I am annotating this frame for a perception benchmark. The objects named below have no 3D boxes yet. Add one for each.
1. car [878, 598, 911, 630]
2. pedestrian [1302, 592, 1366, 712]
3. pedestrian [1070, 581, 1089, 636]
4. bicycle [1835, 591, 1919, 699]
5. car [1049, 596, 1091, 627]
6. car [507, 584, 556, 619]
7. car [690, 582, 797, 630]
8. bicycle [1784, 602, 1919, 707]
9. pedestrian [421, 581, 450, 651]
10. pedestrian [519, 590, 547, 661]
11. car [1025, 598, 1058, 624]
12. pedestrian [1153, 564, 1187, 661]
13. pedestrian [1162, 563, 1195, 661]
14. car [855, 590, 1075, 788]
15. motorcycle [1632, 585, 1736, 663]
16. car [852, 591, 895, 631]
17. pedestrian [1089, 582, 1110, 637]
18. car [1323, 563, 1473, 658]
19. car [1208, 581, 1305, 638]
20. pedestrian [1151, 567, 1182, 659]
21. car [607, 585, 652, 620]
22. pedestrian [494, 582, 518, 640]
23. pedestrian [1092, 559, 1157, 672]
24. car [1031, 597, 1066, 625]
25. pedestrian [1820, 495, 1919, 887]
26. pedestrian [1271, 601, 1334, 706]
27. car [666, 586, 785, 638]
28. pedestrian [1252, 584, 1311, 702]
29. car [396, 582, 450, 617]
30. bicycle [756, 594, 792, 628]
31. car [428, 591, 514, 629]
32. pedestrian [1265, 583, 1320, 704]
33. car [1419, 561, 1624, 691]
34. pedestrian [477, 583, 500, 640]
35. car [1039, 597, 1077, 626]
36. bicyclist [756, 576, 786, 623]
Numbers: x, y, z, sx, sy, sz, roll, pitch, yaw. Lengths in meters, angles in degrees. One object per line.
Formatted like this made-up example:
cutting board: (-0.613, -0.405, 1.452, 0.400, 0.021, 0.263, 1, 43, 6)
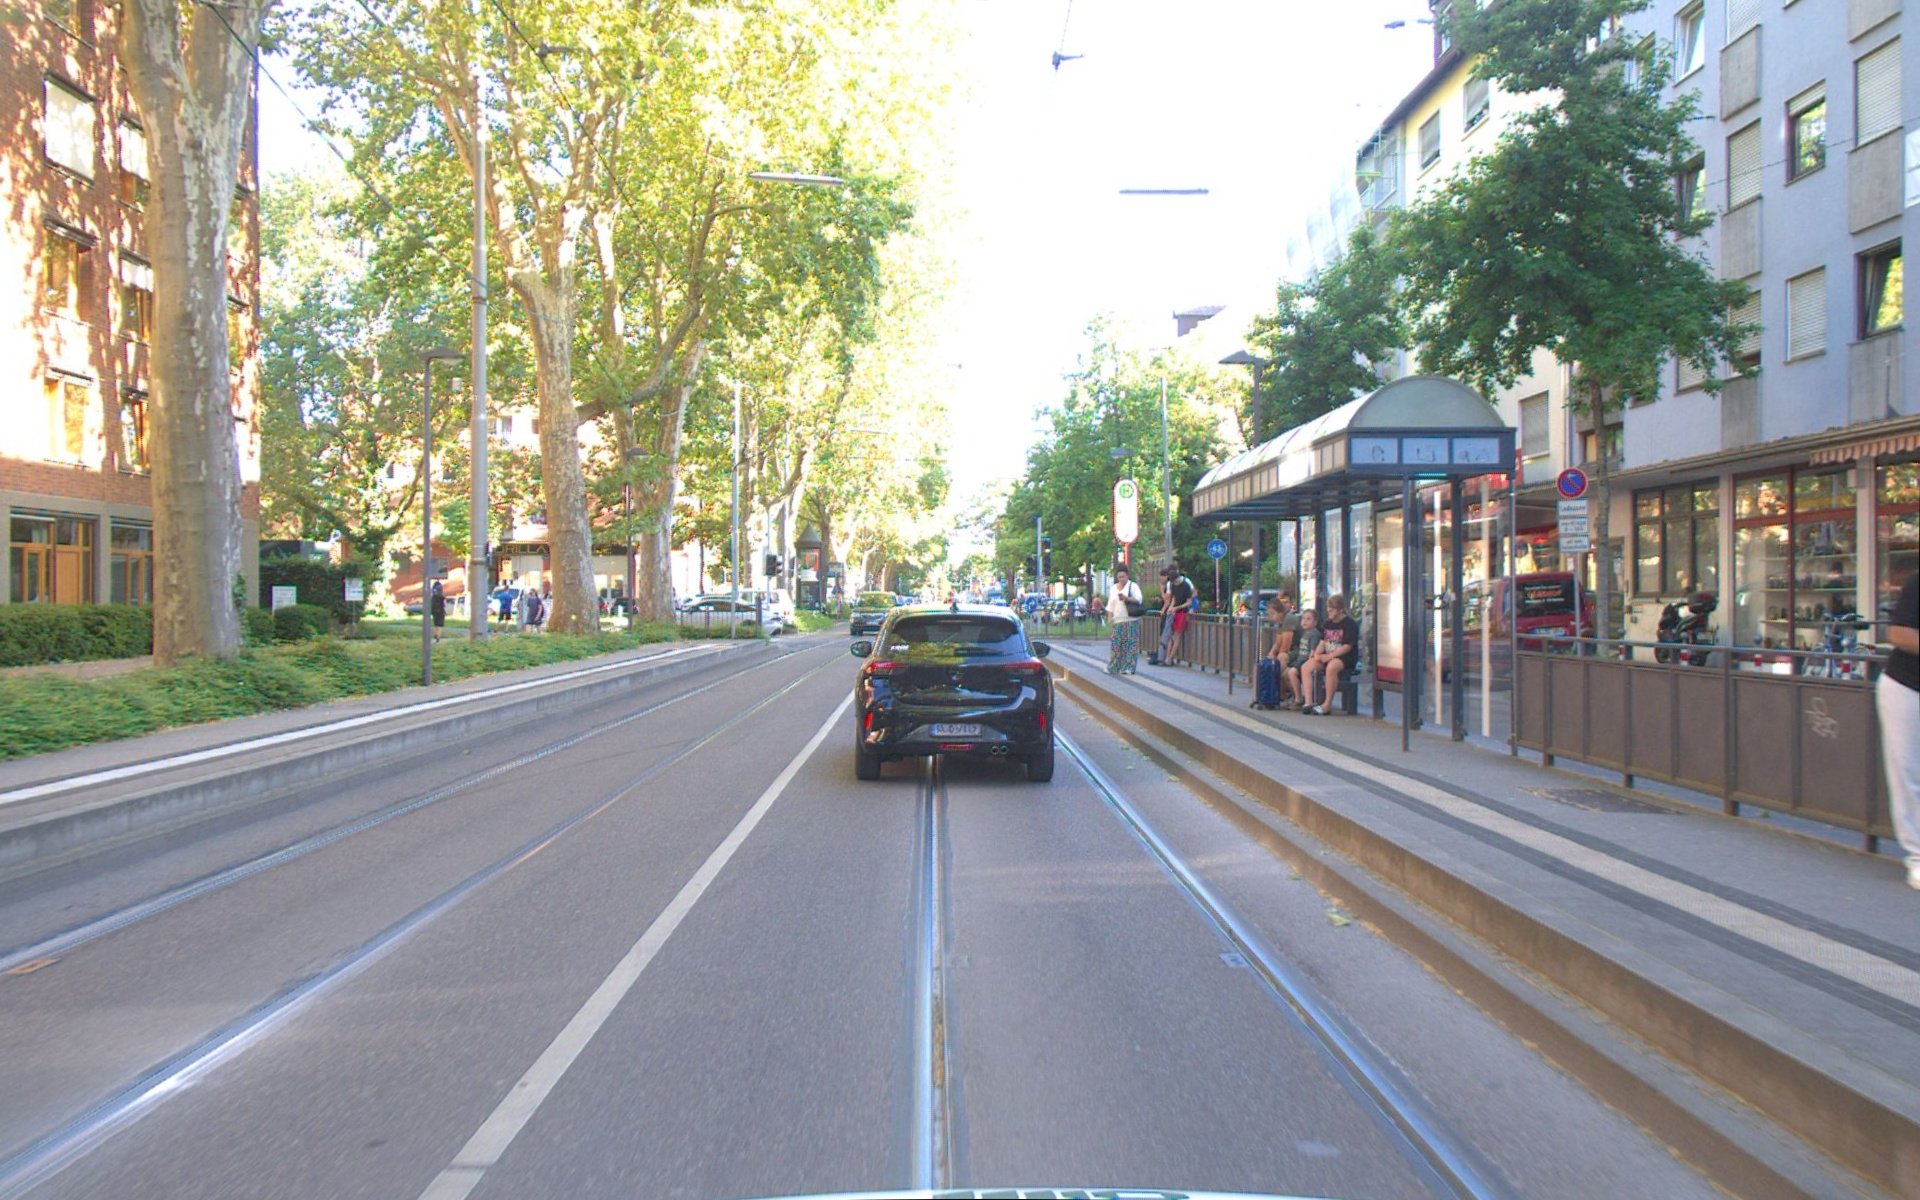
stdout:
car: (-3.673, 0.762, 92.662, 1.749, 1.723, 3.998, 1, 0, -3)
pedestrian: (3.951, 0.543, 17.478, 0.523, 1.252, 0.510, 1, -1, -5)
pedestrian: (4.525, 0.324, 62.663, 0.661, 2.049, 0.701, 2, 0, 5)
bicycle: (10.477, 0.484, 17.821, 0.587, 1.156, 2.197, 1, 0, -12)
car: (6.067, 0.622, 91.523, 1.953, 1.661, 3.999, 1, 0, -1)
car: (-25.995, 0.091, 100.520, 1.953, 2.049, 3.999, 1, 0, -1)
car: (-8.937, 0.262, 68.418, 4.302, 1.884, 1.996, 1, -1, -8)
bicycle: (10.603, 0.612, 19.385, 0.586, 1.156, 2.201, 1, 0, -7)
pedestrian: (-14.957, 0.450, 47.154, 0.486, 1.984, 0.675, 1, -1, 11)
pedestrian: (-12.060, 0.722, 46.732, 0.658, 1.984, 0.498, 1, -1, -1)
car: (5.416, 0.733, 110.890, 1.953, 1.661, 3.999, 1, 0, -1)
pedestrian: (3.820, 0.232, 30.092, 0.520, 1.739, 0.752, 1, -1, 1)
pedestrian: (4.072, 0.217, 30.798, 0.520, 1.793, 0.661, 1, -1, 1)
car: (-0.054, 0.707, 14.883, 1.725, 1.534, 3.680, -1, 0, -3)
motorcycle: (12.451, 0.406, 28.529, 0.874, 1.302, 2.042, 1, 0, -1)
car: (-3.521, 0.447, 67.557, 1.710, 1.571, 3.998, 1, 0, -3)
pedestrian: (5.269, 0.356, 62.376, 0.661, 2.049, 0.702, 2, 0, 11)
car: (8.990, 0.221, 34.299, 1.953, 1.829, 3.998, 1, 0, -2)
car: (8.275, 0.268, 46.443, 1.953, 1.512, 3.999, 1, 0, -1)
pedestrian: (3.937, 0.248, 31.536, 0.520, 1.739, 0.596, 1, -1, 1)
car: (-20.124, 0.154, 100.921, 1.953, 2.049, 3.999, 1, 0, -1)
pedestrian: (-15.872, 0.383, 57.803, 0.659, 1.984, 0.497, 2, 0, -4)
pedestrian: (2.583, 0.240, 25.969, 0.736, 1.739, 0.761, 0, -1, 33)
car: (5.575, 0.696, 104.597, 1.953, 1.661, 3.999, 1, 0, -1)
pedestrian: (4.247, 0.379, 7.076, 0.618, 1.603, 0.870, 2, 0, -1)
pedestrian: (3.720, 0.579, 17.995, 0.523, 1.119, 0.550, 1, -1, -5)
car: (-8.158, 0.421, 57.706, 4.037, 1.731, 1.880, 1, -1, -8)
pedestrian: (3.695, 0.488, 19.014, 0.523, 1.327, 0.550, 1, -1, -5)
car: (-32.392, -0.037, 99.852, 1.953, 2.049, 3.999, 1, 0, -1)
bicycle: (-7.060, 0.428, 63.007, 0.935, 1.262, 2.978, 1, 0, 2)
car: (-27.307, 0.546, 92.432, 4.164, 2.049, 1.999, 1, -1, -1)
pedestrian: (3.725, 0.483, 18.521, 0.493, 1.327, 0.428, 1, -1, -5)
car: (9.237, 0.417, 27.551, 1.953, 1.986, 3.998, 1, 0, -2)
pedestrian: (-16.681, 0.391, 58.532, 0.659, 1.984, 0.497, 2, 0, -4)
car: (5.793, 0.658, 97.960, 1.953, 1.661, 3.999, 1, 0, -1)
bicyclist: (-7.085, -0.026, 62.109, 0.921, 1.733, 1.153, 1, -1, 2)
